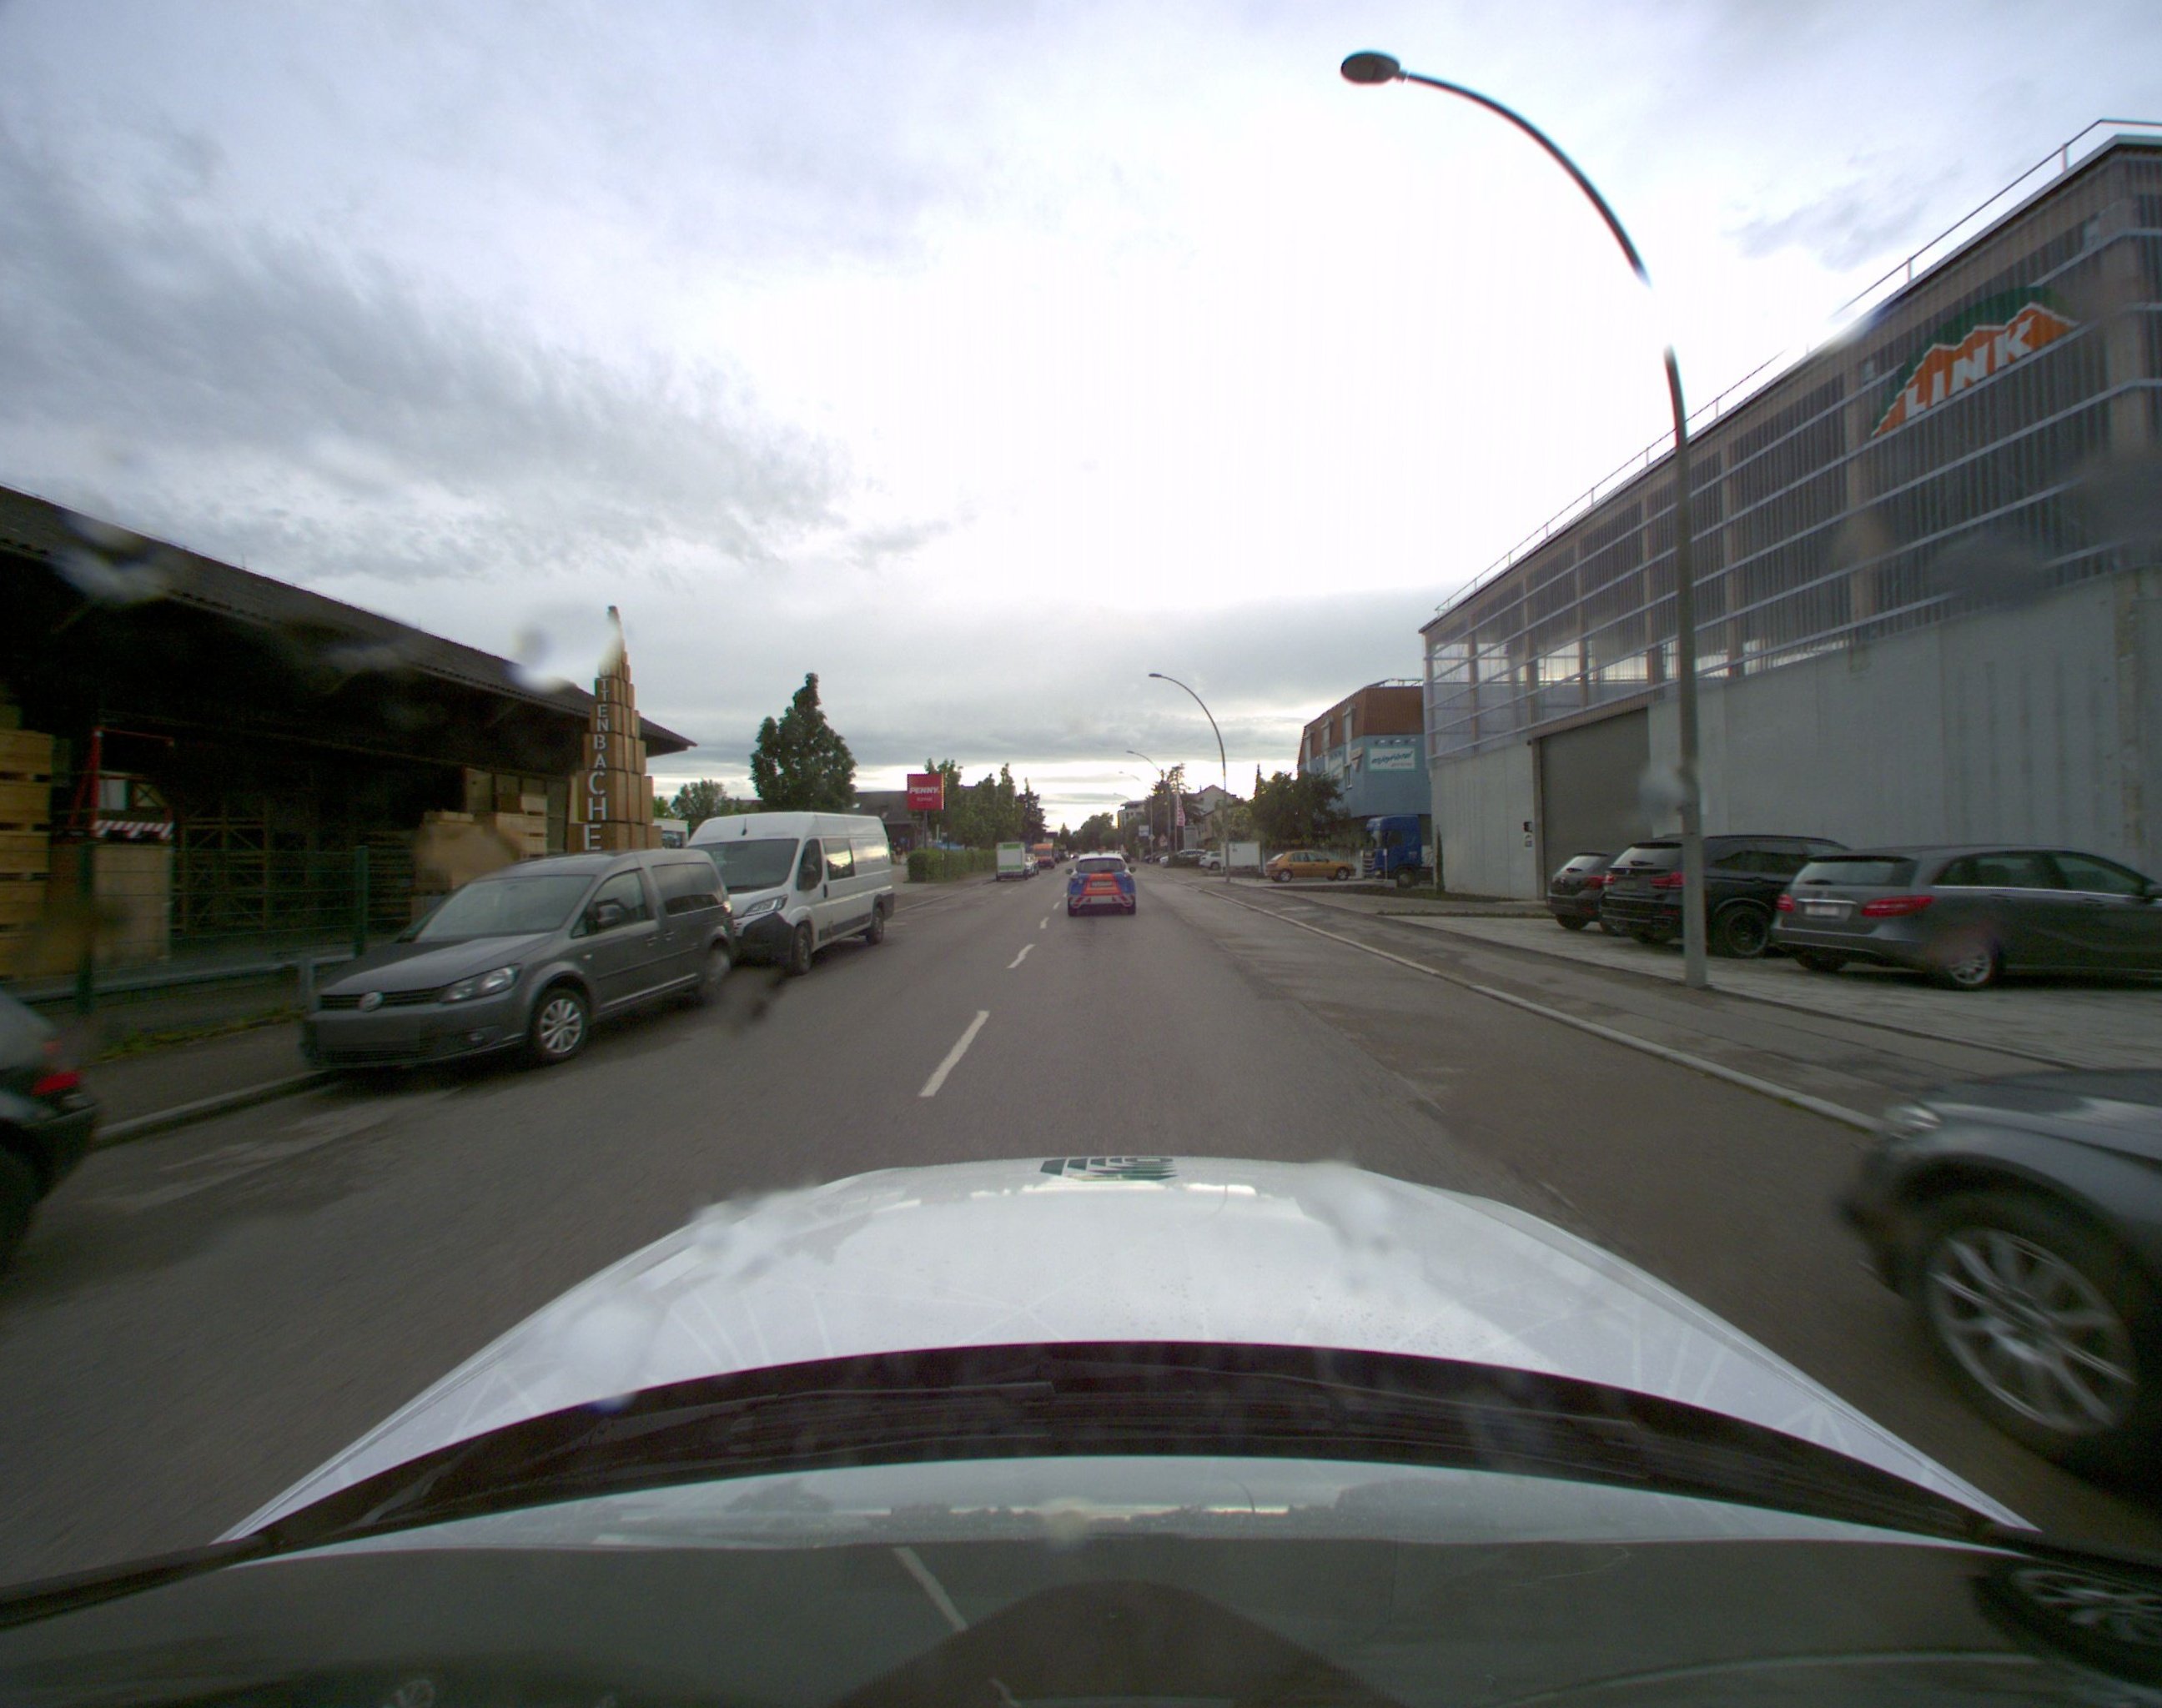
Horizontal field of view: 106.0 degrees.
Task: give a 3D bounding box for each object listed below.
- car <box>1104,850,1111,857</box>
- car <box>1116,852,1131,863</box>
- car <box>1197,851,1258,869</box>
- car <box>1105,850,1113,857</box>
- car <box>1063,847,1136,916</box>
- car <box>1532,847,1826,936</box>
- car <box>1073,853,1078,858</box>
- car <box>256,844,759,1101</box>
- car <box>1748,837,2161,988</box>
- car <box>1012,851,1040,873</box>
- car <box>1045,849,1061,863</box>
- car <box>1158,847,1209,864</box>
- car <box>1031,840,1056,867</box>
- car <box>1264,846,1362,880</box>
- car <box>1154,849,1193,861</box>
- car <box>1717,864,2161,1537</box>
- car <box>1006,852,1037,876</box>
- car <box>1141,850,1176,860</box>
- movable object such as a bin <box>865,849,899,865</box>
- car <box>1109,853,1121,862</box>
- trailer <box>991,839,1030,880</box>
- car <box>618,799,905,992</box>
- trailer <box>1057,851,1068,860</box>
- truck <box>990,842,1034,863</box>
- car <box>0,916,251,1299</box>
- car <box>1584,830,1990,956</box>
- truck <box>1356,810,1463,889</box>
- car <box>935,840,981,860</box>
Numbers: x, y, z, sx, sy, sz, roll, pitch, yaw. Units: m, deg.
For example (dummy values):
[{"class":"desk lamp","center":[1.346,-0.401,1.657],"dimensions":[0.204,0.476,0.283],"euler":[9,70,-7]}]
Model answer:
[{"class":"car","center":[6.763,-0.091,205.867],"dimensions":[1.645,1.671,3.998],"euler":[0,0,-1]},{"class":"car","center":[5.349,0.406,103.542],"dimensions":[1.585,1.341,4.091],"euler":[-1,0,-1]},{"class":"car","center":[11.263,0.443,62.745],"dimensions":[4.401,1.393,1.879],"euler":[0,0,-1]},{"class":"car","center":[6.379,-0.107,184.093],"dimensions":[1.645,1.521,3.998],"euler":[0,0,-1]},{"class":"car","center":[0.461,0.678,21.476],"dimensions":[1.726,1.631,3.494],"euler":[-1,0,0]},{"class":"car","center":[10.601,0.641,14.678],"dimensions":[3.951,1.490,1.834],"euler":[0,0,2]},{"class":"car","center":[-1.541,0.394,216.641],"dimensions":[1.382,1.483,3.782],"euler":[-1,0,-1]},{"class":"car","center":[-5.159,0.892,8.296],"dimensions":[1.763,1.768,4.447],"euler":[-5,0,1]},{"class":"car","center":[10.490,0.615,9.329],"dimensions":[4.228,1.536,1.812],"euler":[1,0,0]},{"class":"car","center":[-4.148,0.574,61.815],"dimensions":[1.799,1.573,4.342],"euler":[-2,0,0]},{"class":"car","center":[-3.892,0.300,113.372],"dimensions":[1.987,1.947,5.365],"euler":[-1,0,0]},{"class":"car","center":[9.206,0.177,73.282],"dimensions":[4.324,1.475,1.902],"euler":[0,0,-1]},{"class":"car","center":[-3.733,-0.067,81.284],"dimensions":[2.118,2.537,6.021],"euler":[-1,0,0]},{"class":"car","center":[10.443,0.387,36.897],"dimensions":[3.975,1.430,1.630],"euler":[-1,0,-1]},{"class":"car","center":[9.824,0.154,86.484],"dimensions":[3.971,1.266,1.952],"euler":[0,0,2]},{"class":"car","center":[3.237,0.760,0.771],"dimensions":[1.733,1.466,4.545],"euler":[0,0,0]},{"class":"car","center":[-4.089,0.681,56.203],"dimensions":[1.766,1.498,4.137],"euler":[-1,1,0]},{"class":"car","center":[9.355,0.137,98.164],"dimensions":[3.975,1.266,1.950],"euler":[0,0,-1]},{"class":"movable object such as a bin","center":[-22.402,0.306,91.771],"dimensions":[3.417,1.759,1.996],"euler":[0,0,-6]},{"class":"car","center":[5.598,0.559,135.502],"dimensions":[1.707,1.438,4.523],"euler":[0,0,-1]},{"class":"trailer","center":[-4.320,0.313,50.570],"dimensions":[1.807,2.314,4.730],"euler":[-3,0,0]},{"class":"car","center":[-4.964,0.547,14.090],"dimensions":[2.150,2.427,6.460],"euler":[-4,0,1]},{"class":"trailer","center":[-2.897,0.285,130.604],"dimensions":[1.712,1.260,5.243],"euler":[0,2,-1]},{"class":"truck","center":[-9.805,-0.202,115.837],"dimensions":[5.890,3.073,2.450],"euler":[0,0,1]},{"class":"car","center":[-5.128,1.075,2.037],"dimensions":[1.656,1.448,4.316],"euler":[-3,0,-1]},{"class":"car","center":[10.122,0.528,11.989],"dimensions":[4.209,1.675,1.982],"euler":[0,0,3]},{"class":"truck","center":[16.364,-0.208,40.752],"dimensions":[4.133,3.673,2.718],"euler":[2,0,-2]},{"class":"car","center":[-12.427,-0.425,82.587],"dimensions":[4.291,2.014,2.063],"euler":[0,0,1]}]
